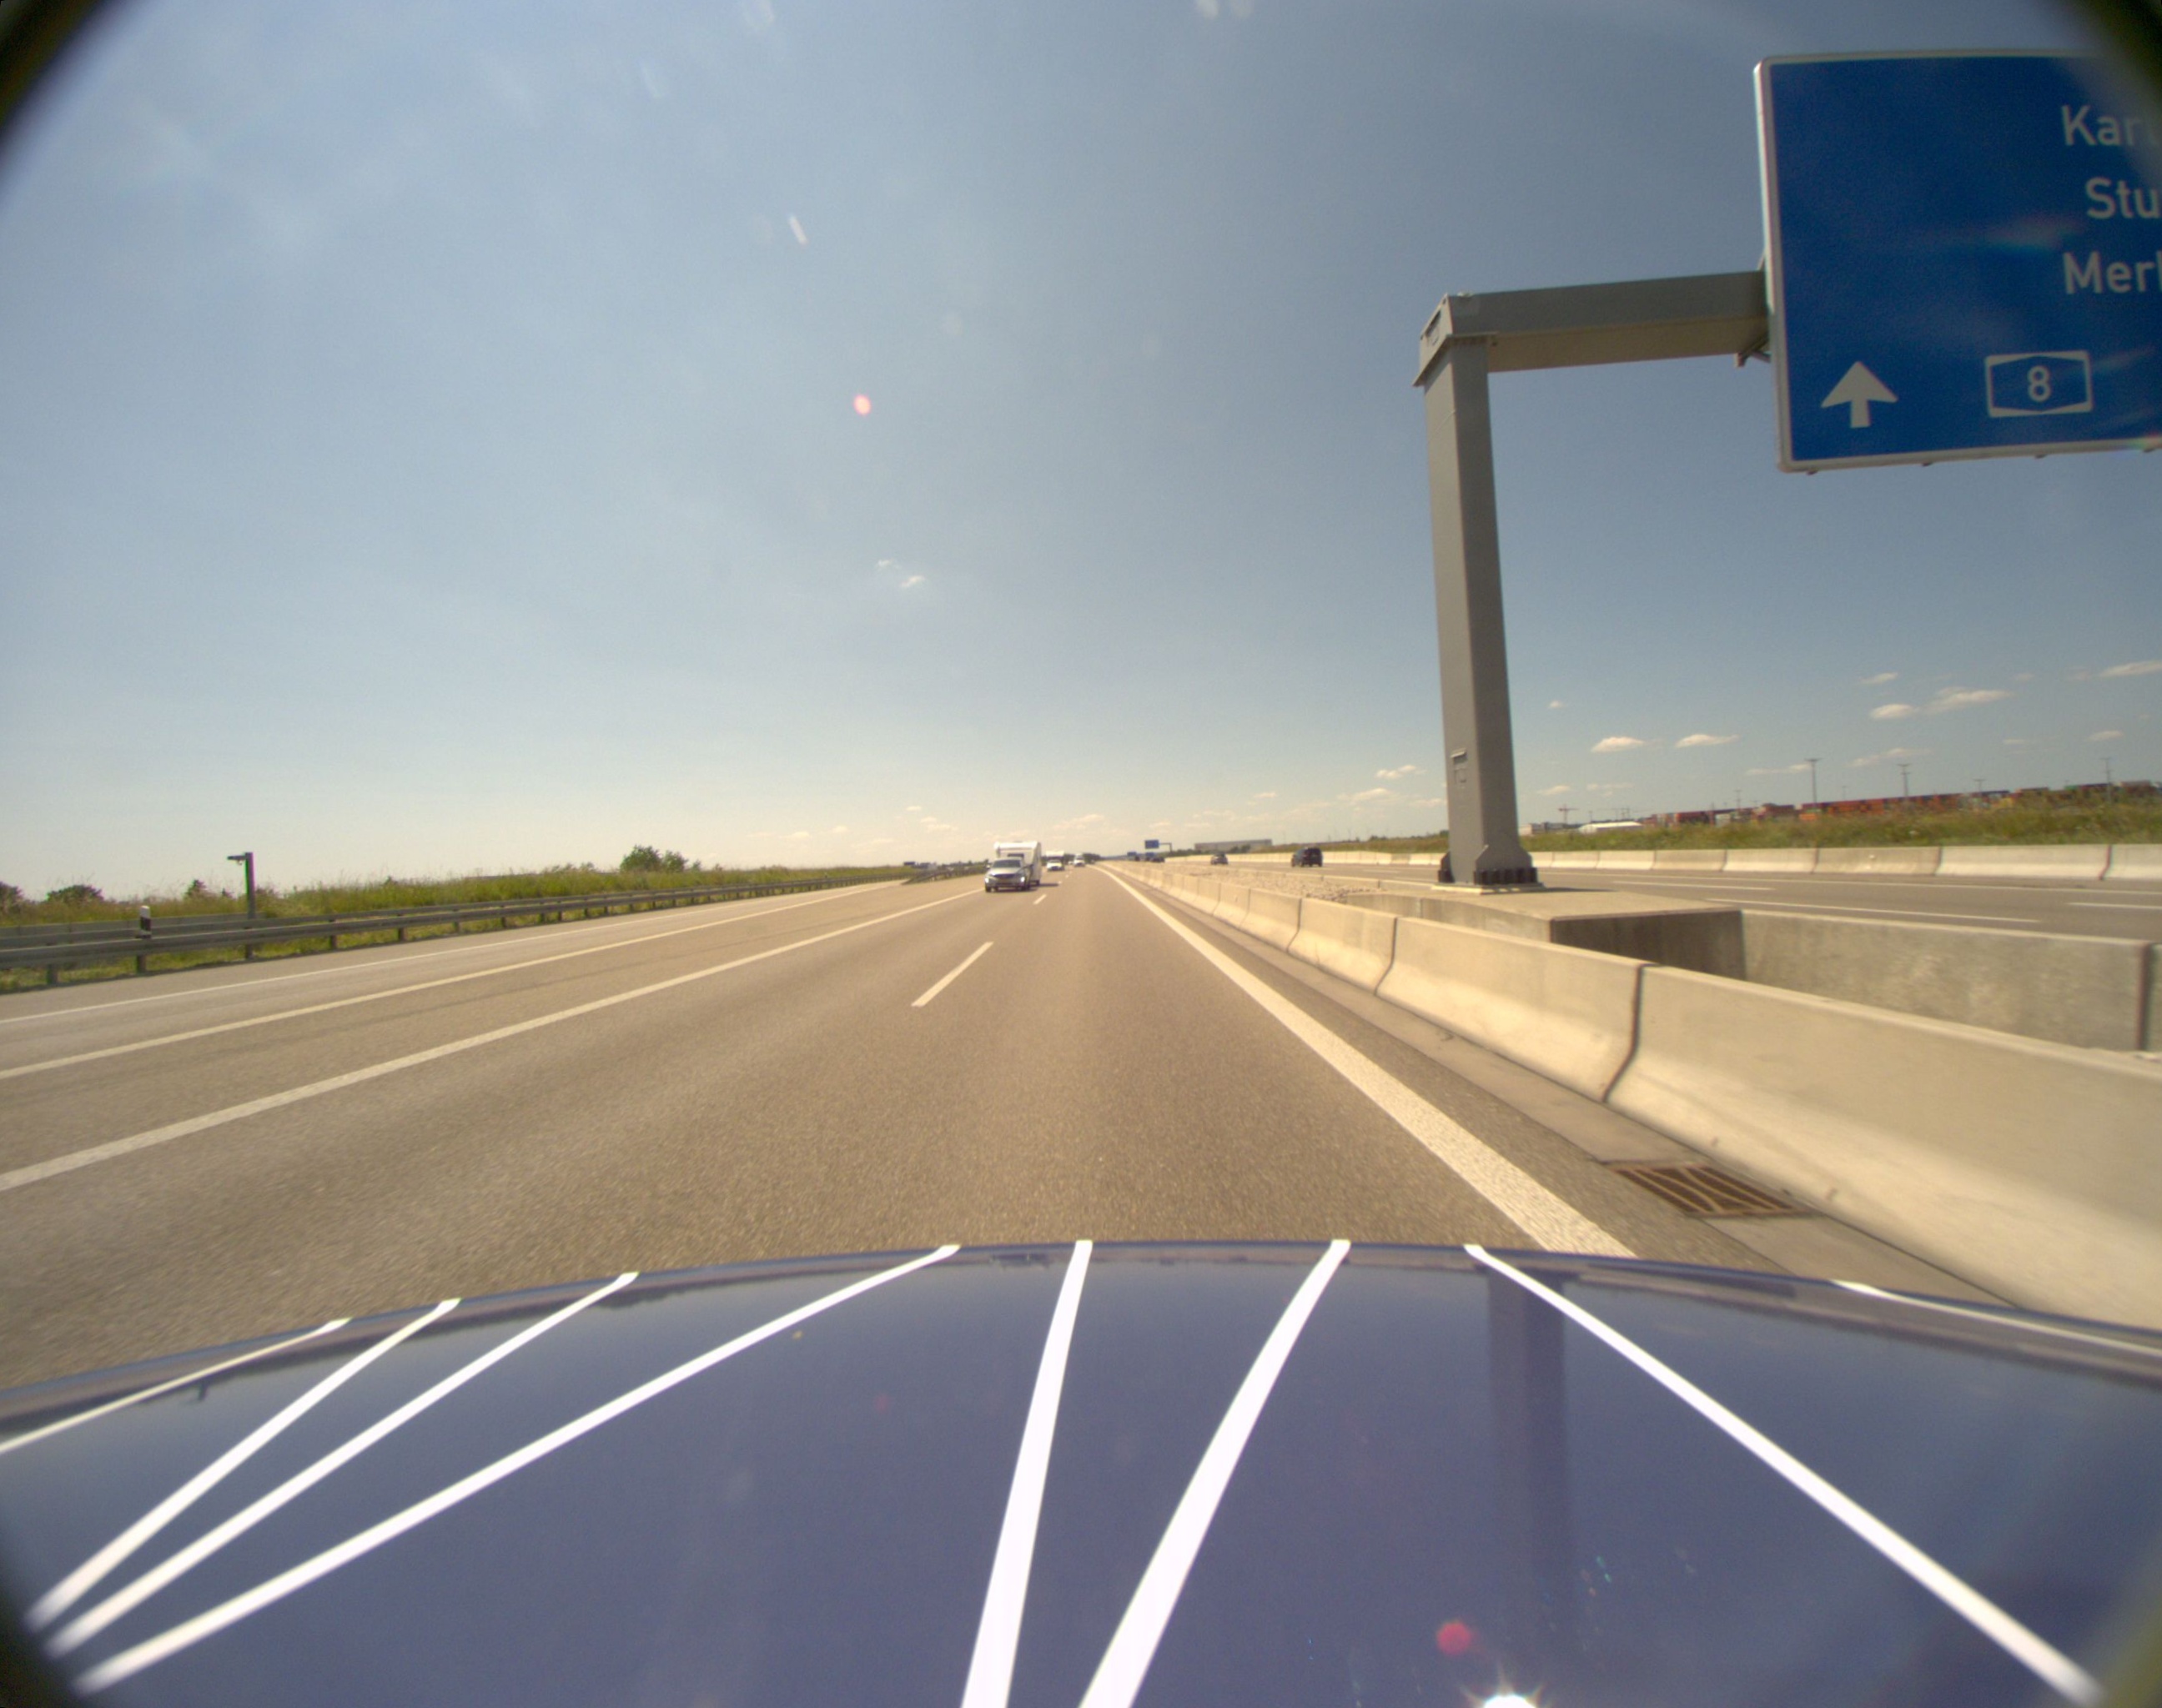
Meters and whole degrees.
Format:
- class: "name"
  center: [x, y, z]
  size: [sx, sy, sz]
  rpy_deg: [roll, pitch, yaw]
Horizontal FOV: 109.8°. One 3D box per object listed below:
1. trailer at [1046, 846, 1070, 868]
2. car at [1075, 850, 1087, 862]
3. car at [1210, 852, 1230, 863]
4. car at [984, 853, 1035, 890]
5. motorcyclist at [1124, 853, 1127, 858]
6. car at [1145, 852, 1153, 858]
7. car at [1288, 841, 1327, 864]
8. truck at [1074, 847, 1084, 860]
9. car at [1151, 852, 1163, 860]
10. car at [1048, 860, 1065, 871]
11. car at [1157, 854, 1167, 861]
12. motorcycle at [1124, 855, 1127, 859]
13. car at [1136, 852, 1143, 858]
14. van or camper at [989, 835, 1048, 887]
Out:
- class: "trailer"
  center: [-2.955, 0.398, 99.548]
  size: [2.500, 2.686, 7.157]
  rpy_deg: [-2, -1, 3]
- class: "car"
  center: [0.017, 0.324, 136.568]
  size: [1.998, 2.002, 4.000]
  rpy_deg: [-2, 0, 1]
- class: "car"
  center: [17.791, 0.466, 97.208]
  size: [1.895, 1.321, 3.986]
  rpy_deg: [-3, 0, 2]
- class: "car"
  center: [-3.435, 0.829, 37.142]
  size: [1.885, 1.613, 4.904]
  rpy_deg: [-2, -1, 1]
- class: "motorcyclist"
  center: [15.551, 0.592, 265.494]
  size: [0.922, 1.612, 1.088]
  rpy_deg: [-2, 0, 1]
- class: "car"
  center: [19.102, 0.330, 213.475]
  size: [1.873, 1.483, 5.137]
  rpy_deg: [-2, 2, 1]
- class: "car"
  center: [19.828, -0.142, 66.766]
  size: [1.851, 1.813, 4.921]
  rpy_deg: [-3, 0, 0]
- class: "truck"
  center: [-0.464, -0.171, 176.556]
  size: [2.168, 2.797, 6.490]
  rpy_deg: [-2, 0, 0]
- class: "car"
  center: [14.322, 0.393, 143.239]
  size: [1.848, 1.374, 4.752]
  rpy_deg: [-3, 0, 2]
- class: "car"
  center: [-2.993, 1.441, 94.117]
  size: [1.872, 1.351, 3.673]
  rpy_deg: [-1, -1, 3]
- class: "car"
  center: [18.381, 0.797, 172.424]
  size: [1.998, 1.371, 4.364]
  rpy_deg: [-2, 0, 1]
- class: "motorcycle"
  center: [15.551, 0.971, 265.516]
  size: [0.960, 1.162, 2.722]
  rpy_deg: [-2, 0, 1]
- class: "car"
  center: [19.316, 0.335, 250.379]
  size: [1.889, 2.006, 4.735]
  rpy_deg: [-2, 0, 1]
- class: "van or camper"
  center: [-3.422, 0.422, 43.347]
  size: [2.518, 2.577, 7.818]
  rpy_deg: [-2, -1, 1]
